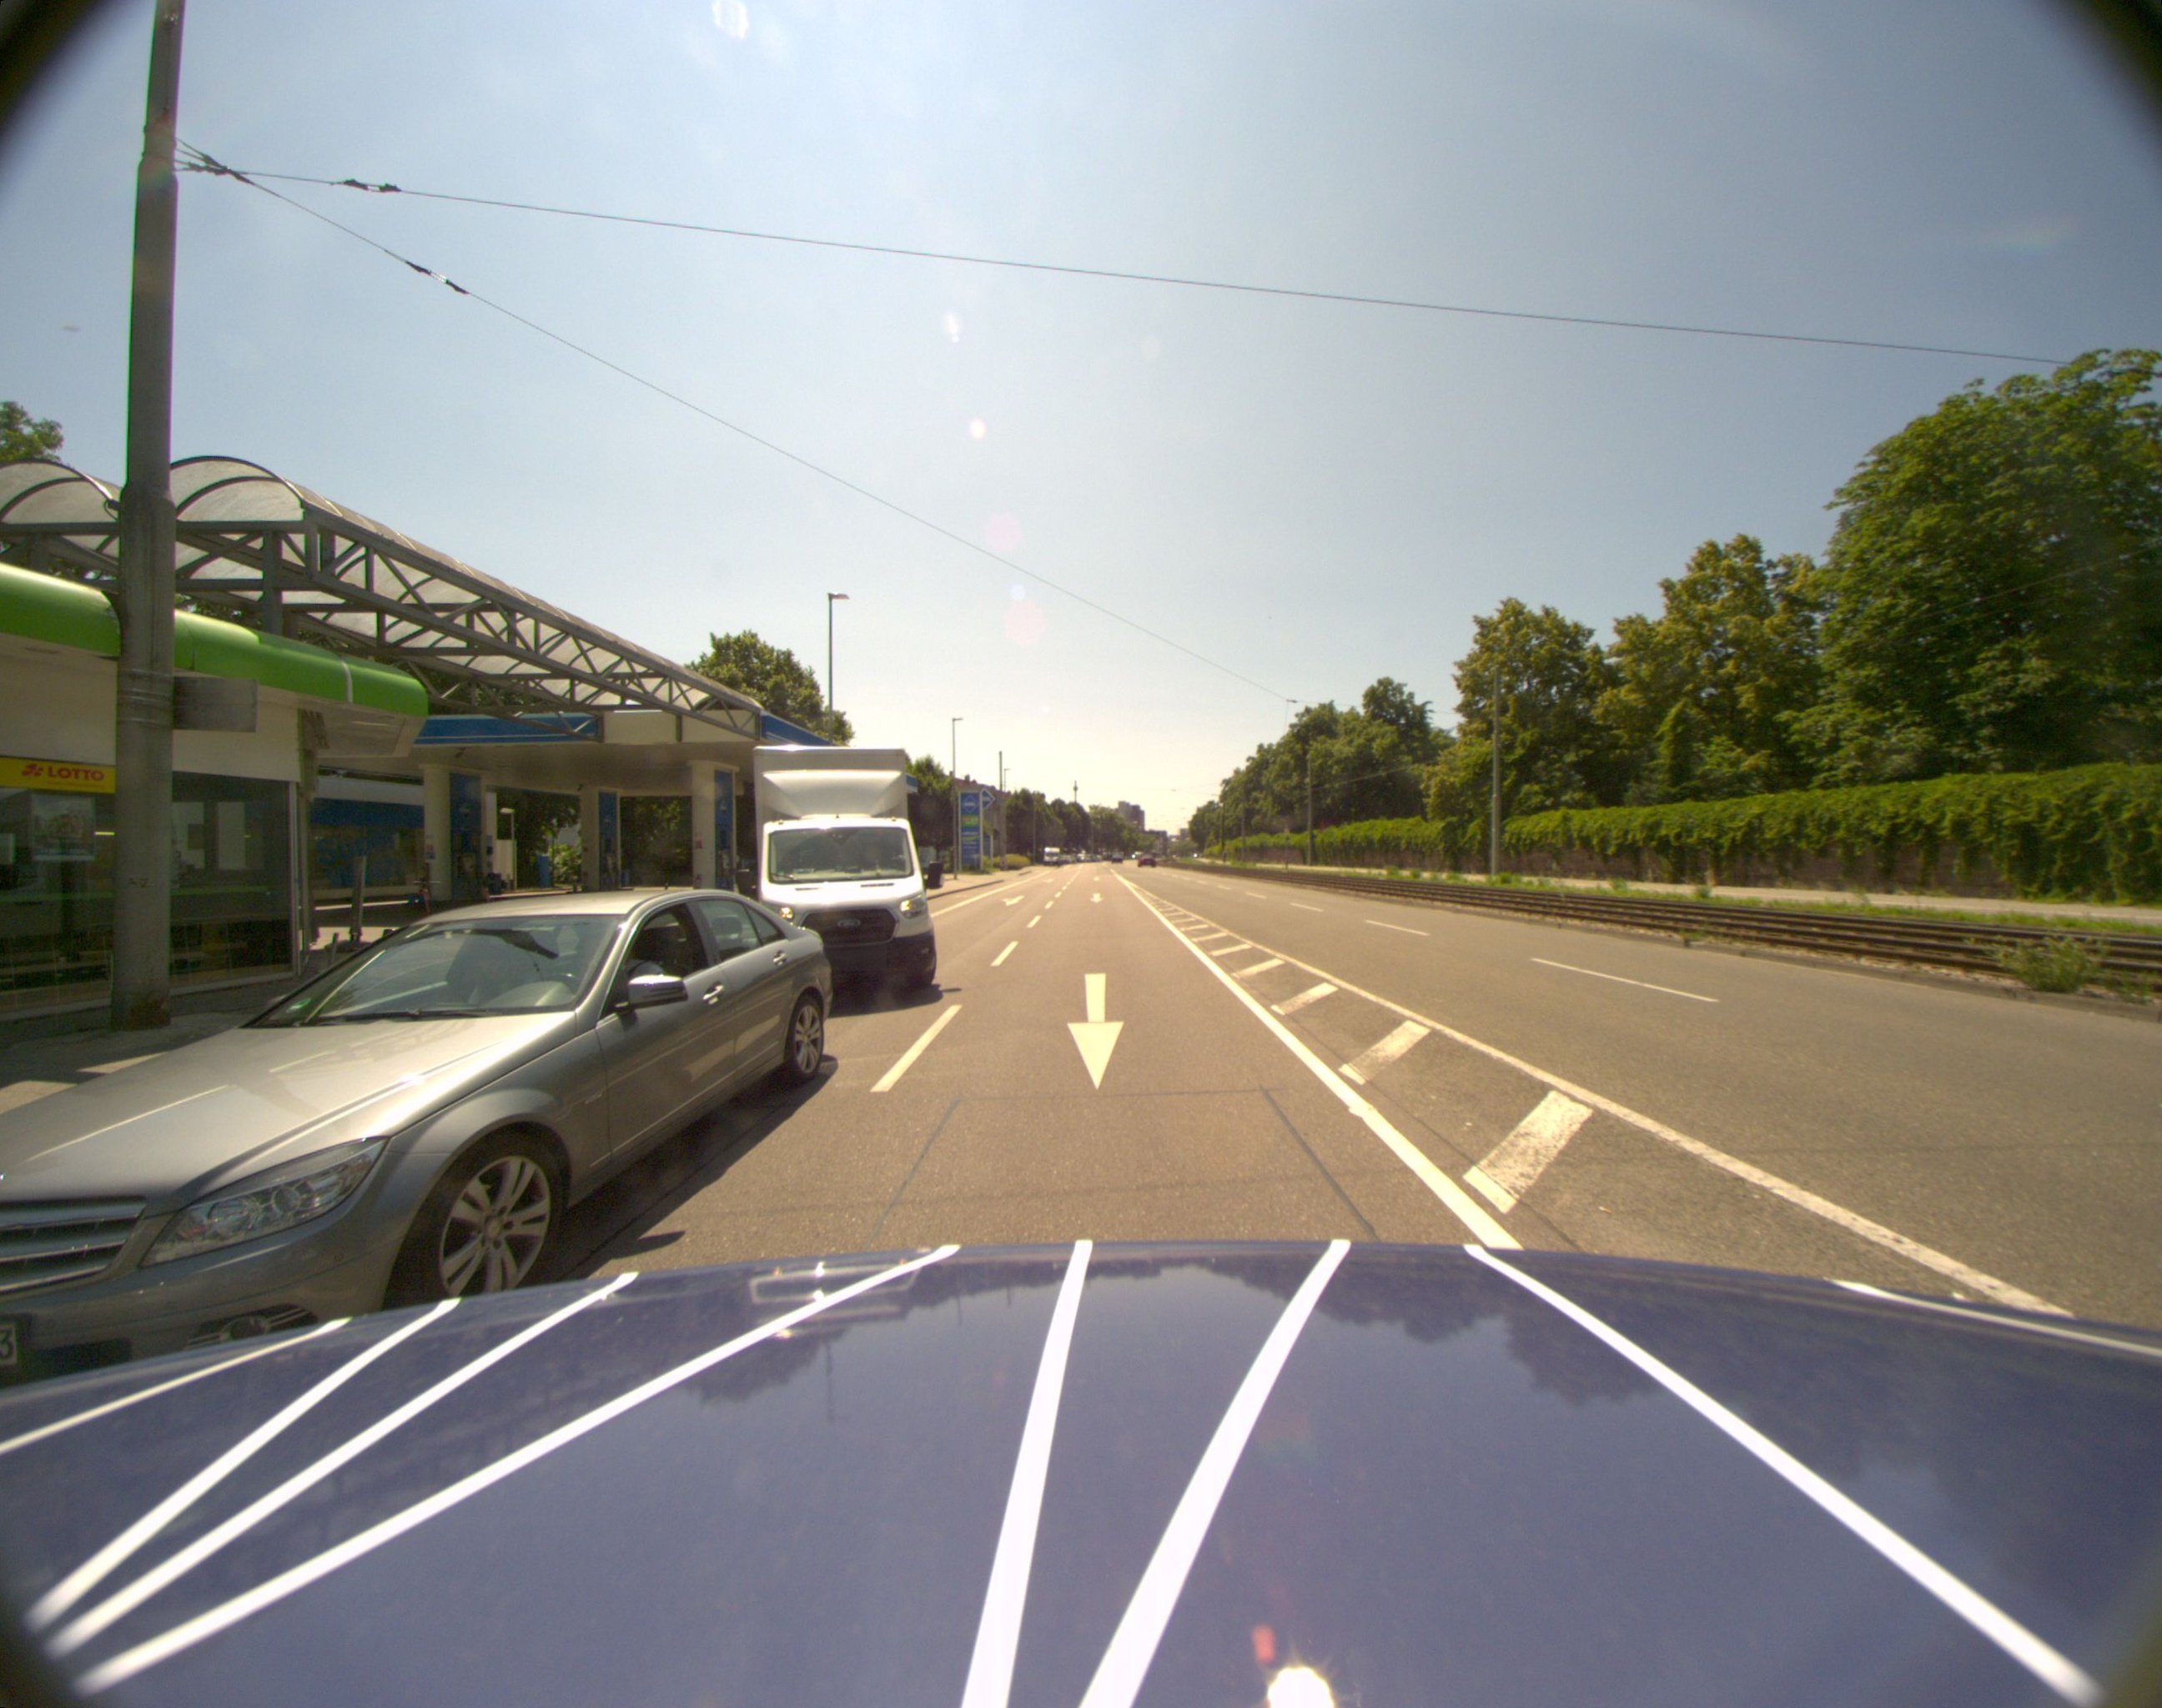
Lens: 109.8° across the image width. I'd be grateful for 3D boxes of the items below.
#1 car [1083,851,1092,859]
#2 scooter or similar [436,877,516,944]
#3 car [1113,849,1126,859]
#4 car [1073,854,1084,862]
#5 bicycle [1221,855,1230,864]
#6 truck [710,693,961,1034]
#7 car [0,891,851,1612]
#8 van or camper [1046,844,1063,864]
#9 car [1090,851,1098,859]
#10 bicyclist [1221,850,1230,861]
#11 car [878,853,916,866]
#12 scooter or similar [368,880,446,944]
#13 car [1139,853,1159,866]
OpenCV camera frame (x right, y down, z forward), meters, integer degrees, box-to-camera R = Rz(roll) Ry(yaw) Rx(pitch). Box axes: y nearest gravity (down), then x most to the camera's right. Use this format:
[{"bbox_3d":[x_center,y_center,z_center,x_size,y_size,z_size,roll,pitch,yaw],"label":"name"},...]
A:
[{"bbox_3d":[1.403,0.227,162.745,1.907,1.707,4.000,-1,0,1],"label":"car"},{"bbox_3d":[-11.586,1.075,14.563,1.176,1.233,0.412,-1,1,2],"label":"scooter or similar"},{"bbox_3d":[6.283,0.039,124.164,1.998,1.608,4.000,-1,0,1],"label":"car"},{"bbox_3d":[-0.471,0.812,150.614,1.725,1.586,4.001,-1,0,4],"label":"car"},{"bbox_3d":[18.847,0.686,99.101,0.830,1.149,2.686,-1,0,5],"label":"bicycle"},{"bbox_3d":[-3.823,0.086,11.598,2.430,3.372,7.819,-1,0,-20],"label":"truck"},{"bbox_3d":[-2.862,1.042,3.986,1.800,1.441,4.418,-1,0,2],"label":"car"},{"bbox_3d":[-3.517,0.013,101.839,2.126,2.469,5.993,2,0,0],"label":"van or camper"},{"bbox_3d":[2.878,0.245,170.591,1.806,1.585,4.000,-1,0,1],"label":"car"},{"bbox_3d":[18.853,0.161,99.076,0.996,1.477,1.000,-1,1,6],"label":"bicyclist"},{"bbox_3d":[-23.331,0.683,96.309,4.221,1.512,2.001,-1,0,9],"label":"car"},{"bbox_3d":[-12.858,1.103,14.511,1.138,1.170,0.384,-1,1,2],"label":"scooter or similar"},{"bbox_3d":[7.793,0.614,87.119,1.989,1.350,4.538,-1,0,2],"label":"car"}]
